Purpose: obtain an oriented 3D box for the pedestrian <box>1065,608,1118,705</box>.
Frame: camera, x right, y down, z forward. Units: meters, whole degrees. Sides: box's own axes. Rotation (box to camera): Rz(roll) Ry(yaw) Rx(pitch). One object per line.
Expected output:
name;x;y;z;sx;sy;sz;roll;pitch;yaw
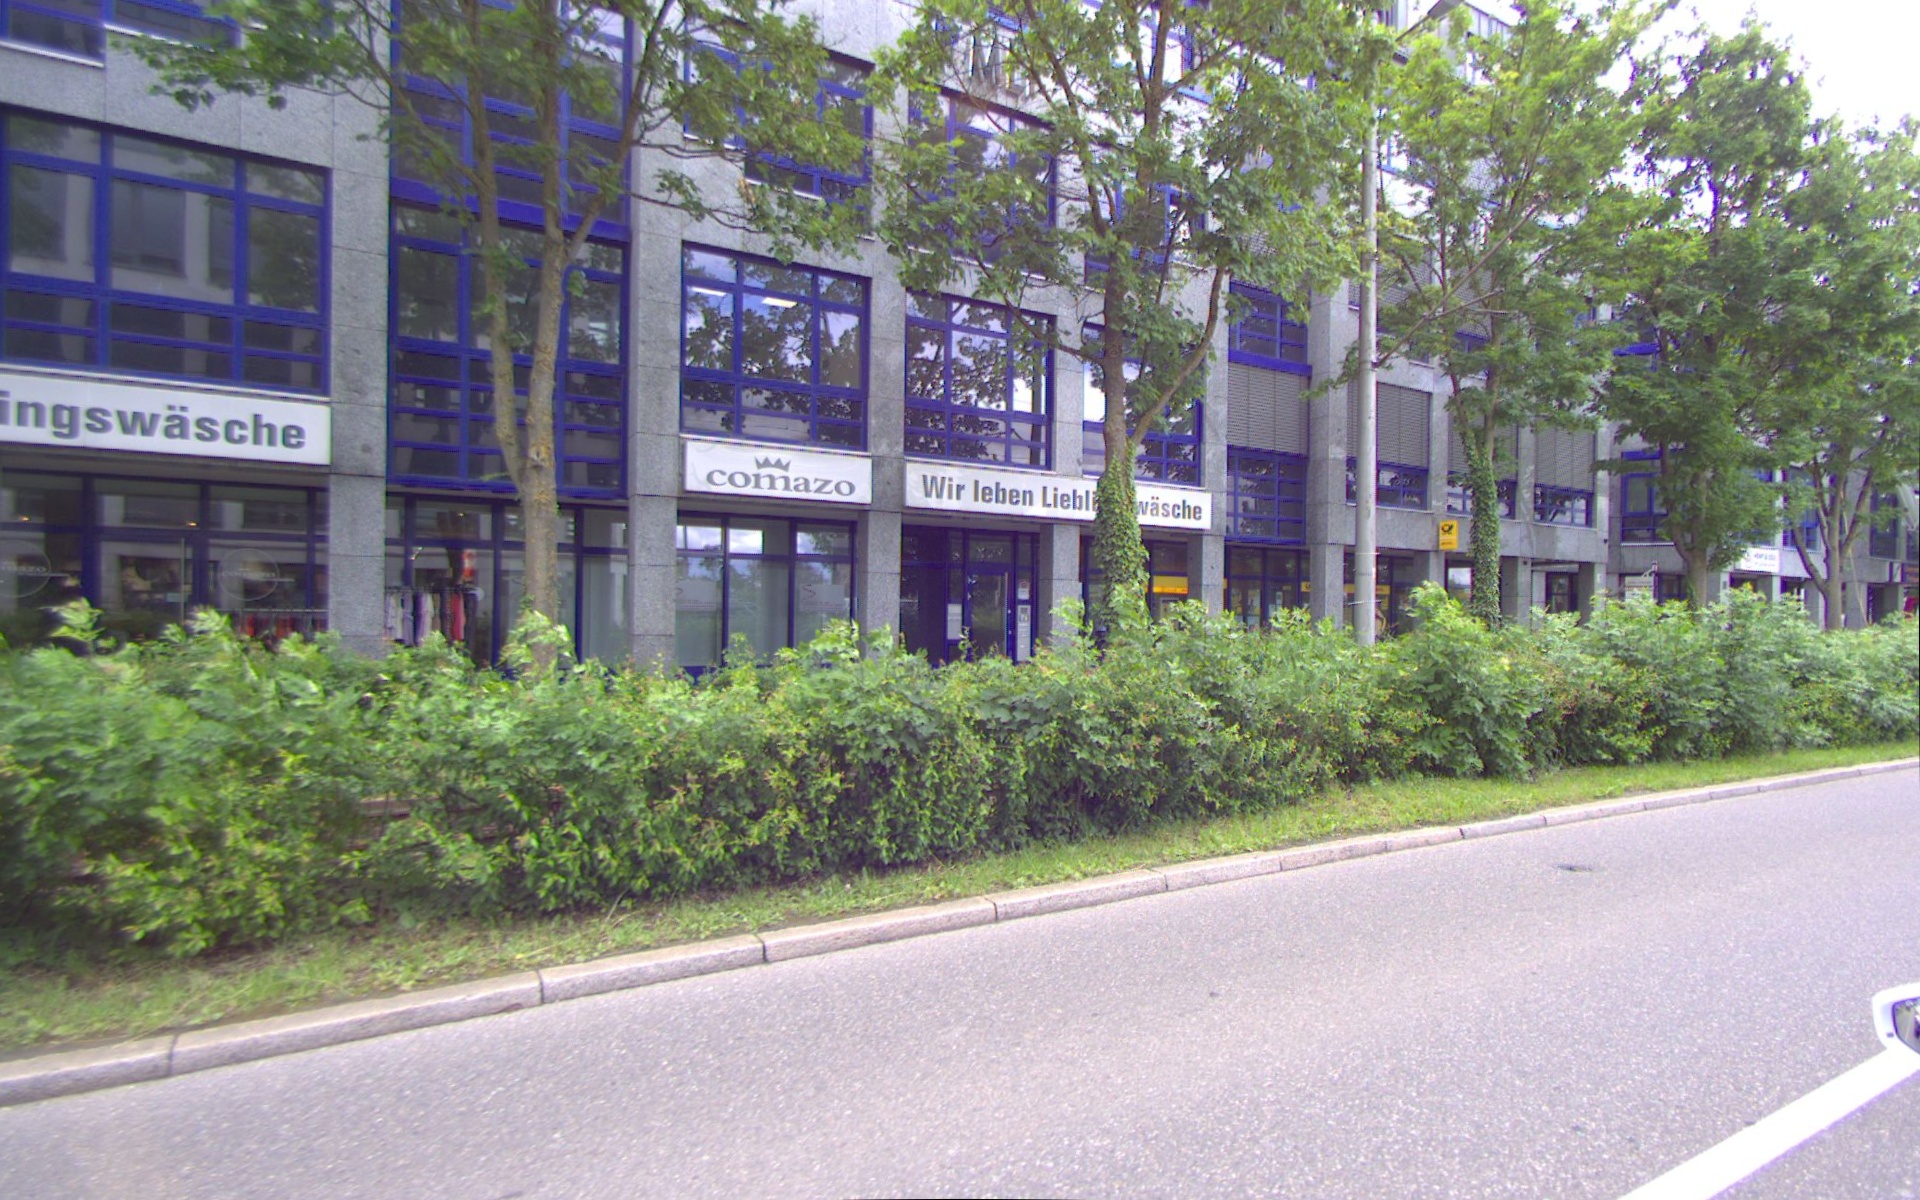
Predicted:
pedestrian;2.696;1.137;20.574;0.723;1.919;0.770;2;0;-30
